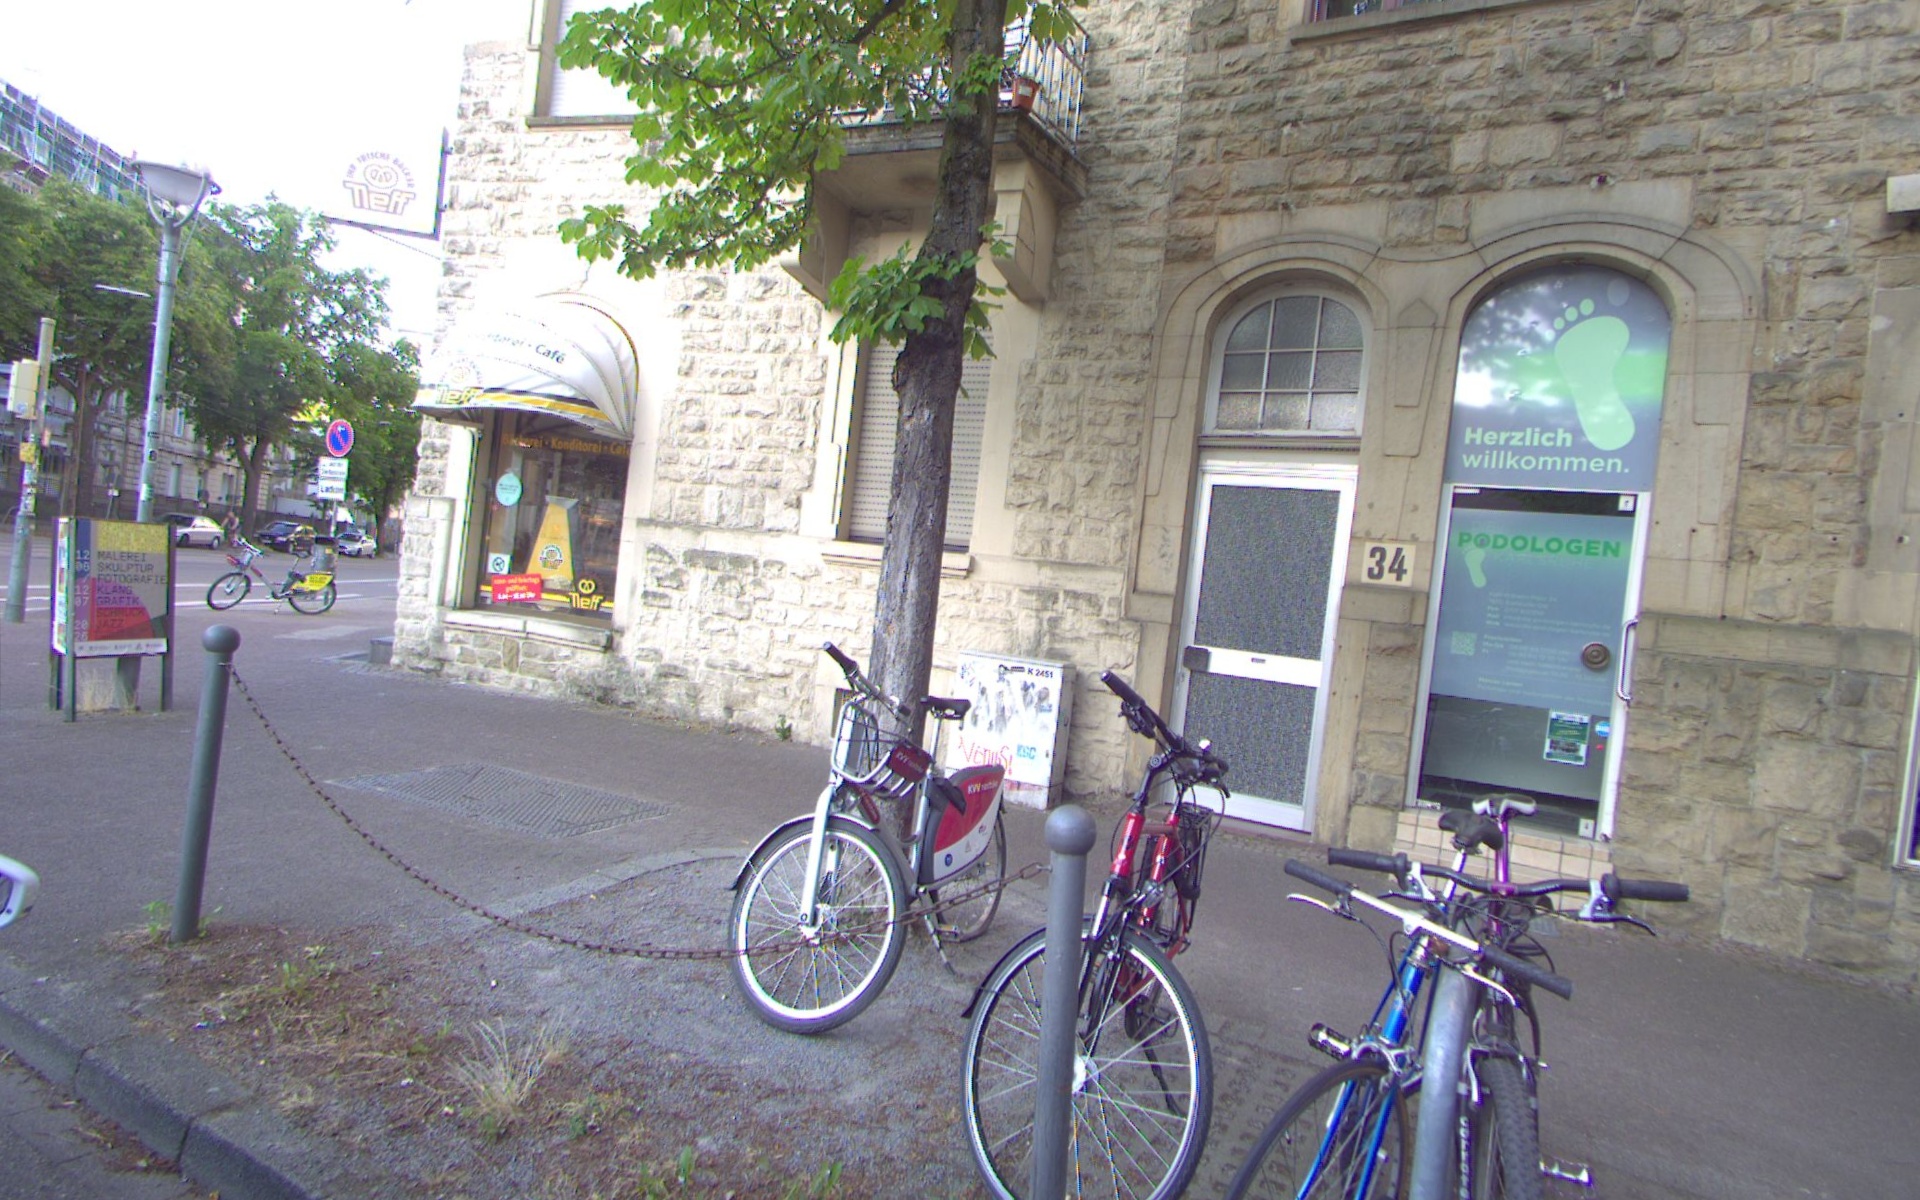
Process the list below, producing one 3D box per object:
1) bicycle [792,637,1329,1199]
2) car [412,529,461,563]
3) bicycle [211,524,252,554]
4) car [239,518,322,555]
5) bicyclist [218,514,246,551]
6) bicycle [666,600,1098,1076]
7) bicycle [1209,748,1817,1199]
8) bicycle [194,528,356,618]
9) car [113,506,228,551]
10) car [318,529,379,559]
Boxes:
[{"bbox_3d":[0.429,0.788,2.693,0.687,1.252,1.790,7,0,28],"label":"bicycle"},{"bbox_3d":[-41.847,-4.271,80.541,1.918,2.344,4.623,7,0,-10],"label":"car"},{"bbox_3d":[-30.930,-2.577,42.719,0.545,1.162,1.606,6,0,-5],"label":"bicycle"},{"bbox_3d":[-36.235,-3.350,53.779,1.917,1.501,4.162,7,0,-8],"label":"car"},{"bbox_3d":[-30.905,-2.854,42.716,0.545,1.446,0.735,6,1,-5],"label":"bicyclist"},{"bbox_3d":[-0.149,0.708,3.706,0.639,1.252,1.791,7,0,26],"label":"bicycle"},{"bbox_3d":[1.119,0.969,2.215,0.687,1.051,1.804,7,0,28],"label":"bicycle"},{"bbox_3d":[-10.516,-0.389,15.489,0.721,1.144,1.868,7,0,42],"label":"bicycle"},{"bbox_3d":[-34.163,-3.054,43.715,1.977,1.444,4.621,7,0,-12],"label":"car"},{"bbox_3d":[-38.046,-3.440,62.736,1.920,1.500,4.307,7,0,-14],"label":"car"}]
